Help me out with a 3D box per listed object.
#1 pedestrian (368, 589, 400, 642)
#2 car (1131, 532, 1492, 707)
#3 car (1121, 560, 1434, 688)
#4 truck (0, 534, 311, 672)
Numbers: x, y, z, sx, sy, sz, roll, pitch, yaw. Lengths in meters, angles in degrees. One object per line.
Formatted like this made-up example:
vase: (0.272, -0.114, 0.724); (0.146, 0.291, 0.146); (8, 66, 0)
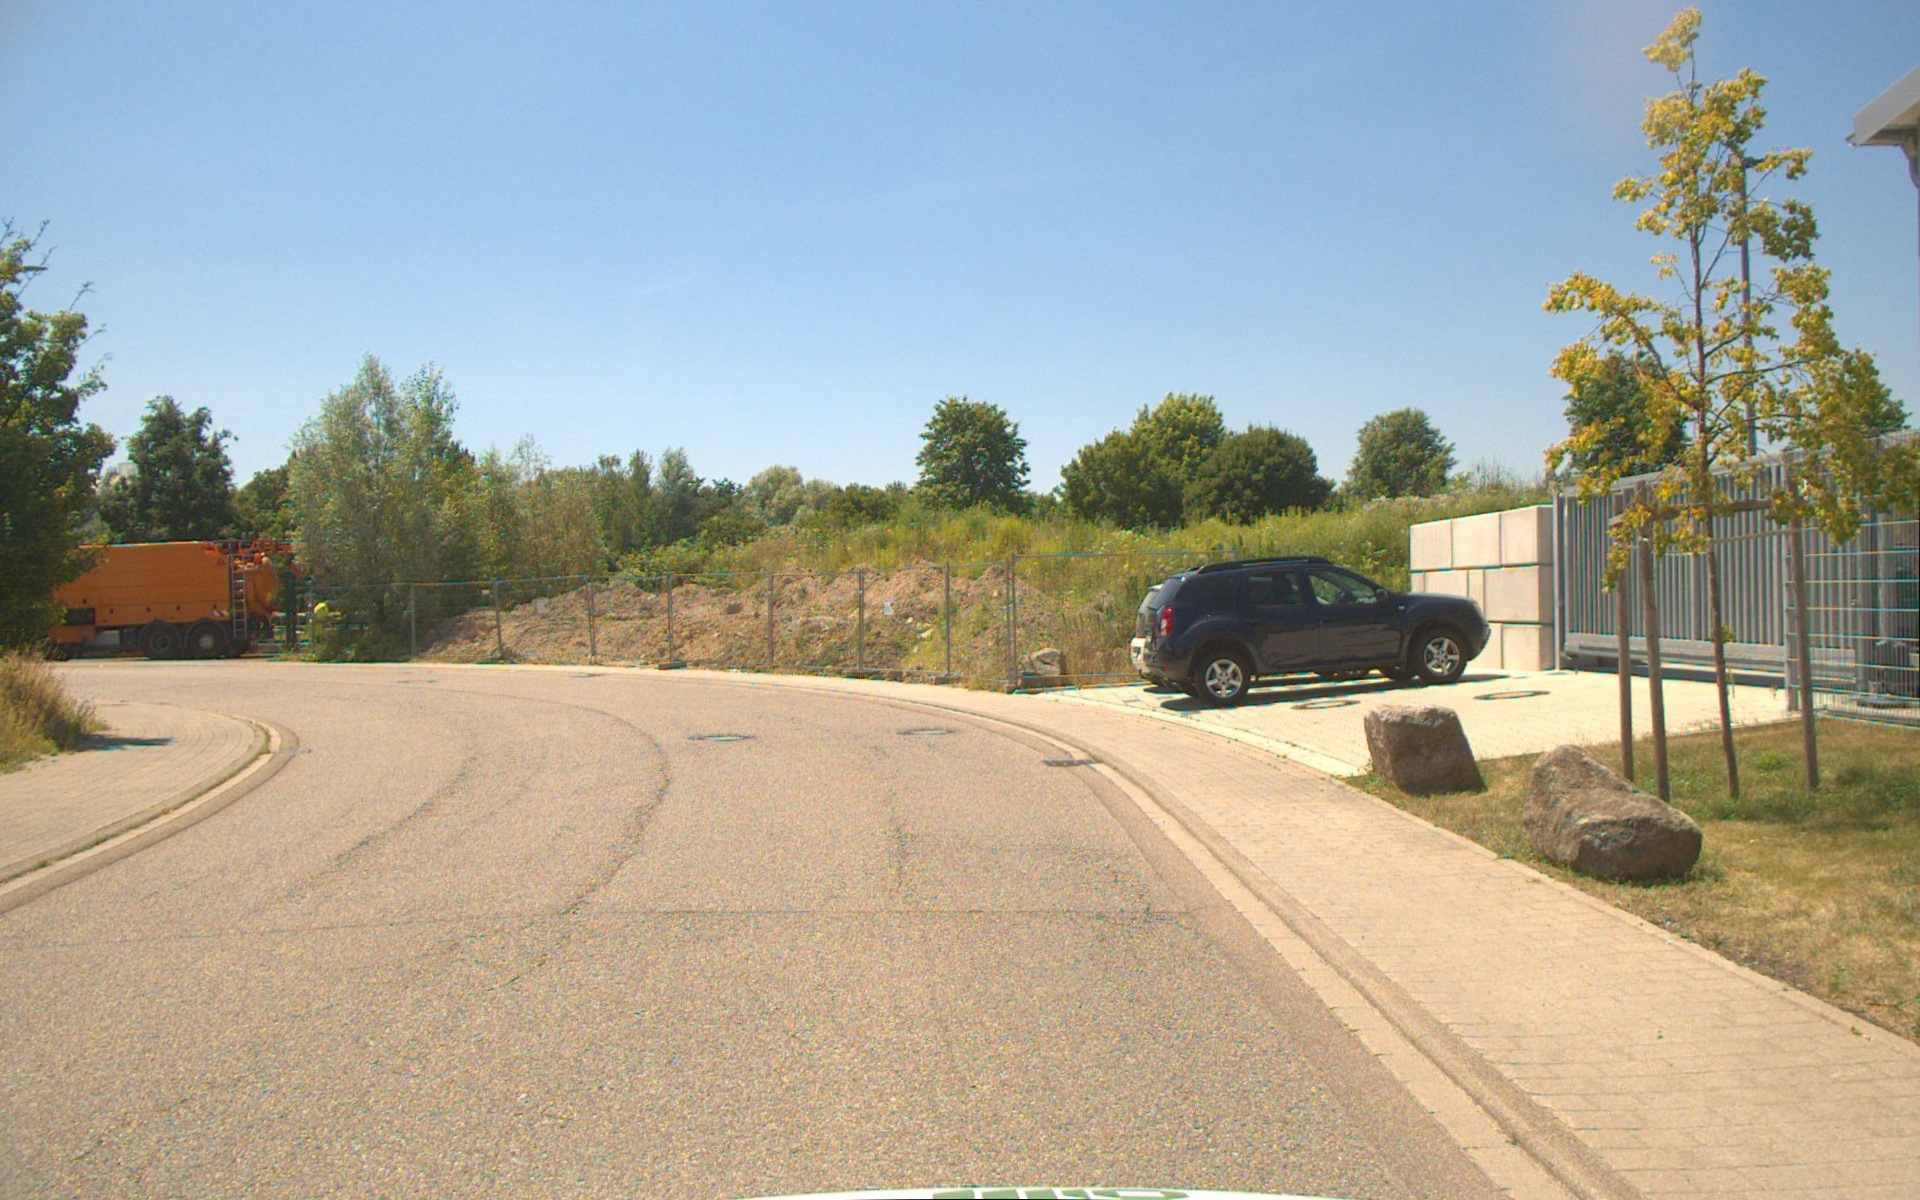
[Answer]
pedestrian: (-20.331, 0.541, 58.401); (0.858, 1.857, 0.739); (0, 0, -3)
car: (4.254, 0.223, 20.449); (3.930, 1.683, 1.857); (-6, 0, -2)
car: (4.365, 0.319, 23.192); (3.930, 1.487, 1.892); (-3, 0, -2)
truck: (-24.957, 0.092, 50.737); (8.415, 3.873, 4.161); (-1, 0, -5)
